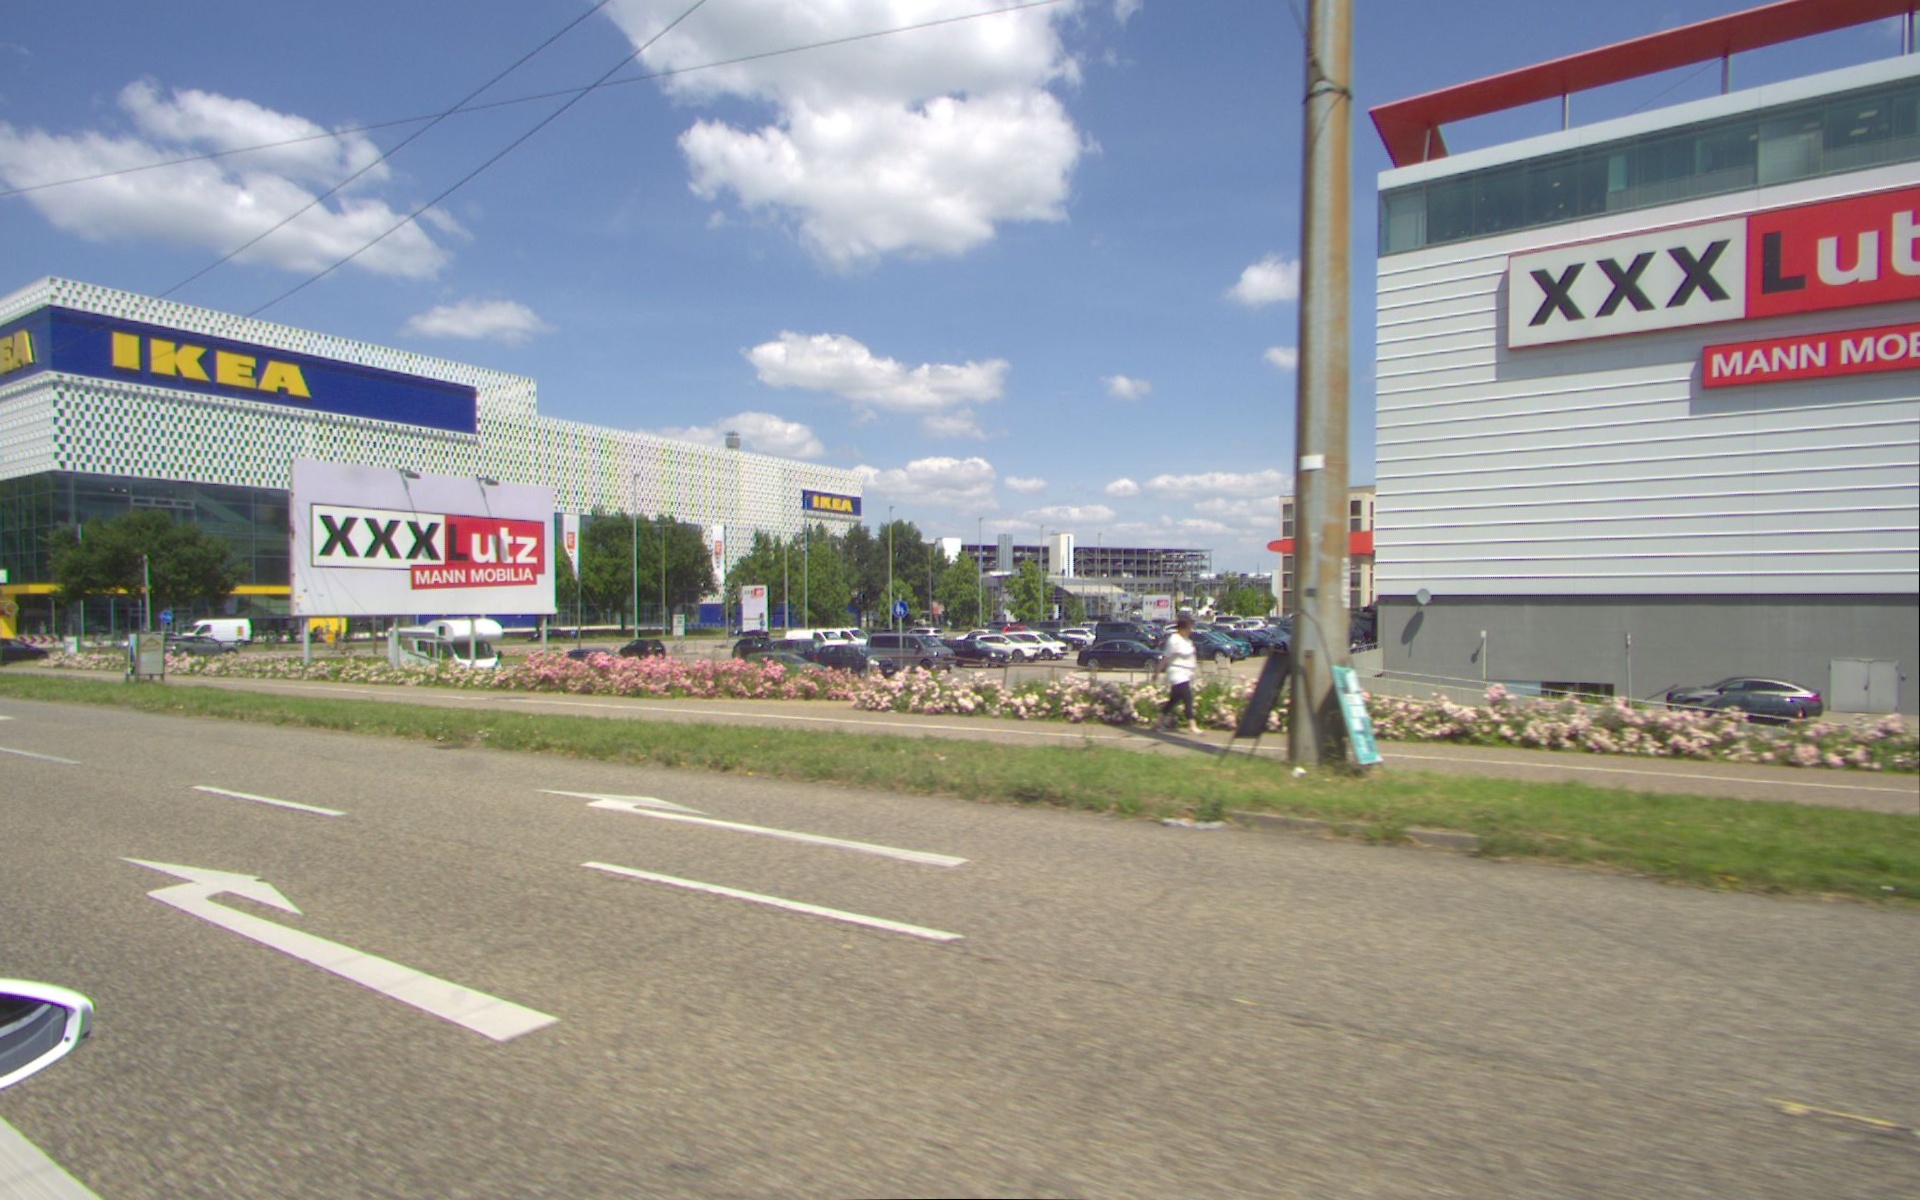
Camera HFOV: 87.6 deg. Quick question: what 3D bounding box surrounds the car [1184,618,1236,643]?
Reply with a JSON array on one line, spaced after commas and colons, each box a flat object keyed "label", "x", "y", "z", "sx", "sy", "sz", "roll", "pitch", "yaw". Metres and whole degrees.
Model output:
[{"label": "car", "x": 21.426, "y": 2.624, "z": 85.765, "sx": 3.943, "sy": 2.039, "sz": 1.990, "roll": -1, "pitch": -1, "yaw": 32}]

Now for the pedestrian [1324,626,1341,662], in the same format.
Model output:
[{"label": "pedestrian", "x": 19.528, "y": 2.293, "z": 52.491, "sx": 0.725, "sy": 1.893, "sz": 0.740, "roll": 0, "pitch": -1, "yaw": 30}]

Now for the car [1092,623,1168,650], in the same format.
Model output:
[{"label": "car", "x": 12.298, "y": 2.645, "z": 72.540, "sx": 5.106, "sy": 1.889, "sz": 1.991, "roll": -1, "pitch": -2, "yaw": 31}]

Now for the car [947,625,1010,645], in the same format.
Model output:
[{"label": "car", "x": 1.531, "y": 2.902, "z": 82.956, "sx": 4.930, "sy": 1.631, "sz": 1.990, "roll": -1, "pitch": -2, "yaw": 33}]

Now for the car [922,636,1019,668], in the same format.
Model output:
[{"label": "car", "x": 0.536, "y": 2.745, "z": 53.849, "sx": 4.930, "sy": 1.631, "sz": 1.990, "roll": -1, "pitch": -2, "yaw": 33}]

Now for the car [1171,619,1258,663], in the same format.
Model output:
[{"label": "car", "x": 14.135, "y": 2.274, "z": 55.668, "sx": 4.271, "sy": 2.357, "sz": 1.990, "roll": -1, "pitch": -2, "yaw": 33}]

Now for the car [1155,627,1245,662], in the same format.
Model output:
[{"label": "car", "x": 12.780, "y": 2.374, "z": 53.359, "sx": 4.272, "sy": 1.804, "sz": 1.991, "roll": -1, "pitch": -3, "yaw": 33}]

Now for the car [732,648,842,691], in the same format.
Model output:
[{"label": "car", "x": -7.199, "y": 2.846, "z": 41.572, "sx": 4.242, "sy": 1.517, "sz": 1.988, "roll": -1, "pitch": 2, "yaw": 33}]

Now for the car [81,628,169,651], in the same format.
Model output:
[{"label": "car", "x": -59.224, "y": 2.811, "z": 71.085, "sx": 1.974, "sy": 1.504, "sz": 4.486, "roll": -1, "pitch": -3, "yaw": 36}]

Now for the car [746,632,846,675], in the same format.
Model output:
[{"label": "car", "x": -8.356, "y": 2.659, "z": 50.813, "sx": 4.930, "sy": 2.040, "sz": 1.989, "roll": -1, "pitch": 0, "yaw": 33}]

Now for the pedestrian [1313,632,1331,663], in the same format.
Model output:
[{"label": "pedestrian", "x": 18.716, "y": 2.443, "z": 51.785, "sx": 0.725, "sy": 1.577, "sz": 0.740, "roll": 0, "pitch": -1, "yaw": 30}]

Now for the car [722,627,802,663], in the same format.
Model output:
[{"label": "car", "x": -12.413, "y": 2.763, "z": 62.600, "sx": 4.930, "sy": 2.162, "sz": 1.990, "roll": -1, "pitch": -2, "yaw": 33}]

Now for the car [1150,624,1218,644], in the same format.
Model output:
[{"label": "car", "x": 18.038, "y": 2.732, "z": 80.729, "sx": 4.930, "sy": 1.631, "sz": 1.990, "roll": -1, "pitch": -2, "yaw": 33}]

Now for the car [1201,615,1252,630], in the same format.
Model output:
[{"label": "car", "x": 28.875, "y": 2.484, "z": 108.537, "sx": 4.930, "sy": 1.631, "sz": 1.990, "roll": -1, "pitch": -2, "yaw": 33}]

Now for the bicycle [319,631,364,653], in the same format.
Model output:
[{"label": "bicycle", "x": -42.140, "y": 2.849, "z": 68.290, "sx": 0.976, "sy": 1.500, "sz": 2.415, "roll": -1, "pitch": -2, "yaw": 37}]

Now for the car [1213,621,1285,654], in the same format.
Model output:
[{"label": "car", "x": 18.119, "y": 2.353, "z": 62.813, "sx": 3.943, "sy": 2.039, "sz": 1.990, "roll": -1, "pitch": -2, "yaw": 32}]

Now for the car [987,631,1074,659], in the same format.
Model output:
[{"label": "car", "x": 4.222, "y": 2.689, "z": 60.524, "sx": 4.930, "sy": 1.671, "sz": 1.990, "roll": -1, "pitch": -2, "yaw": 33}]

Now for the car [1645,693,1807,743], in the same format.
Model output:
[{"label": "car", "x": 26.741, "y": 4.096, "z": 35.156, "sx": 4.288, "sy": 1.416, "sz": 1.991, "roll": -1, "pitch": -2, "yaw": 31}]

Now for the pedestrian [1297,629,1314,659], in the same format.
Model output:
[{"label": "pedestrian", "x": 18.232, "y": 2.320, "z": 52.805, "sx": 0.725, "sy": 1.577, "sz": 0.740, "roll": 0, "pitch": -1, "yaw": 30}]

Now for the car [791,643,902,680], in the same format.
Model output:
[{"label": "car", "x": -5.213, "y": 2.757, "z": 45.738, "sx": 4.930, "sy": 1.570, "sz": 1.990, "roll": -1, "pitch": -2, "yaw": 33}]

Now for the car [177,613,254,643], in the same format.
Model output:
[{"label": "car", "x": -60.108, "y": 2.242, "z": 80.935, "sx": 1.978, "sy": 2.338, "sz": 4.736, "roll": -1, "pitch": -2, "yaw": 42}]

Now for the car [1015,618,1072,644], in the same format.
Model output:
[{"label": "car", "x": 7.771, "y": 2.885, "z": 93.506, "sx": 4.930, "sy": 2.333, "sz": 1.990, "roll": -1, "pitch": -2, "yaw": 33}]

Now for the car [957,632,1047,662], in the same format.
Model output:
[{"label": "car", "x": 2.429, "y": 2.707, "z": 58.359, "sx": 4.930, "sy": 1.631, "sz": 1.990, "roll": -1, "pitch": -2, "yaw": 33}]

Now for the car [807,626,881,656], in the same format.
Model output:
[{"label": "car", "x": -7.948, "y": 2.778, "z": 68.643, "sx": 4.930, "sy": 2.033, "sz": 1.990, "roll": -1, "pitch": -2, "yaw": 33}]

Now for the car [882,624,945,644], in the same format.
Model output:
[{"label": "car", "x": -3.889, "y": 2.833, "z": 83.215, "sx": 4.922, "sy": 1.631, "sz": 1.993, "roll": -1, "pitch": -2, "yaw": 27}]

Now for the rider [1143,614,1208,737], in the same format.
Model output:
[{"label": "rider", "x": 2.700, "y": 0.924, "z": 12.540, "sx": 0.609, "sy": 1.476, "sz": 0.668, "roll": -1, "pitch": -1, "yaw": 32}]

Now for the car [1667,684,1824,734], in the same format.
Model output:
[{"label": "car", "x": 30.163, "y": 4.162, "z": 38.650, "sx": 4.524, "sy": 1.632, "sz": 1.990, "roll": -1, "pitch": -2, "yaw": 32}]

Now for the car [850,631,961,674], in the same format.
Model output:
[{"label": "car", "x": -2.747, "y": 2.576, "z": 49.859, "sx": 5.456, "sy": 2.039, "sz": 1.990, "roll": -1, "pitch": -2, "yaw": 33}]

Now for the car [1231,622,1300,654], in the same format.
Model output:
[{"label": "car", "x": 19.774, "y": 2.446, "z": 64.854, "sx": 3.943, "sy": 2.039, "sz": 1.990, "roll": -1, "pitch": -1, "yaw": 32}]

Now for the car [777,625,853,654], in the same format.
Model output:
[{"label": "car", "x": -9.650, "y": 2.624, "z": 66.676, "sx": 4.930, "sy": 1.876, "sz": 1.990, "roll": -1, "pitch": -2, "yaw": 33}]

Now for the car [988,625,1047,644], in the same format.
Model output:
[{"label": "car", "x": 5.110, "y": 3.102, "z": 89.423, "sx": 4.930, "sy": 1.631, "sz": 1.990, "roll": -1, "pitch": -2, "yaw": 33}]

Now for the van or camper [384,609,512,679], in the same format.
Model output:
[{"label": "van or camper", "x": -24.246, "y": 2.035, "z": 47.290, "sx": 7.129, "sy": 3.058, "sz": 2.500, "roll": -1, "pitch": -2, "yaw": 36}]

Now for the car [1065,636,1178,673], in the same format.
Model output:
[{"label": "car", "x": 7.614, "y": 2.547, "z": 47.378, "sx": 4.930, "sy": 1.631, "sz": 1.990, "roll": -1, "pitch": -2, "yaw": 33}]

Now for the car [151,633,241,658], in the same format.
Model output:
[{"label": "car", "x": -48.447, "y": 2.889, "z": 63.604, "sx": 1.964, "sy": 1.504, "sz": 4.142, "roll": 0, "pitch": -2, "yaw": 17}]

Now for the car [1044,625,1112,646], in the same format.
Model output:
[{"label": "car", "x": 9.194, "y": 2.752, "z": 78.310, "sx": 4.930, "sy": 1.631, "sz": 1.990, "roll": -1, "pitch": -2, "yaw": 33}]
